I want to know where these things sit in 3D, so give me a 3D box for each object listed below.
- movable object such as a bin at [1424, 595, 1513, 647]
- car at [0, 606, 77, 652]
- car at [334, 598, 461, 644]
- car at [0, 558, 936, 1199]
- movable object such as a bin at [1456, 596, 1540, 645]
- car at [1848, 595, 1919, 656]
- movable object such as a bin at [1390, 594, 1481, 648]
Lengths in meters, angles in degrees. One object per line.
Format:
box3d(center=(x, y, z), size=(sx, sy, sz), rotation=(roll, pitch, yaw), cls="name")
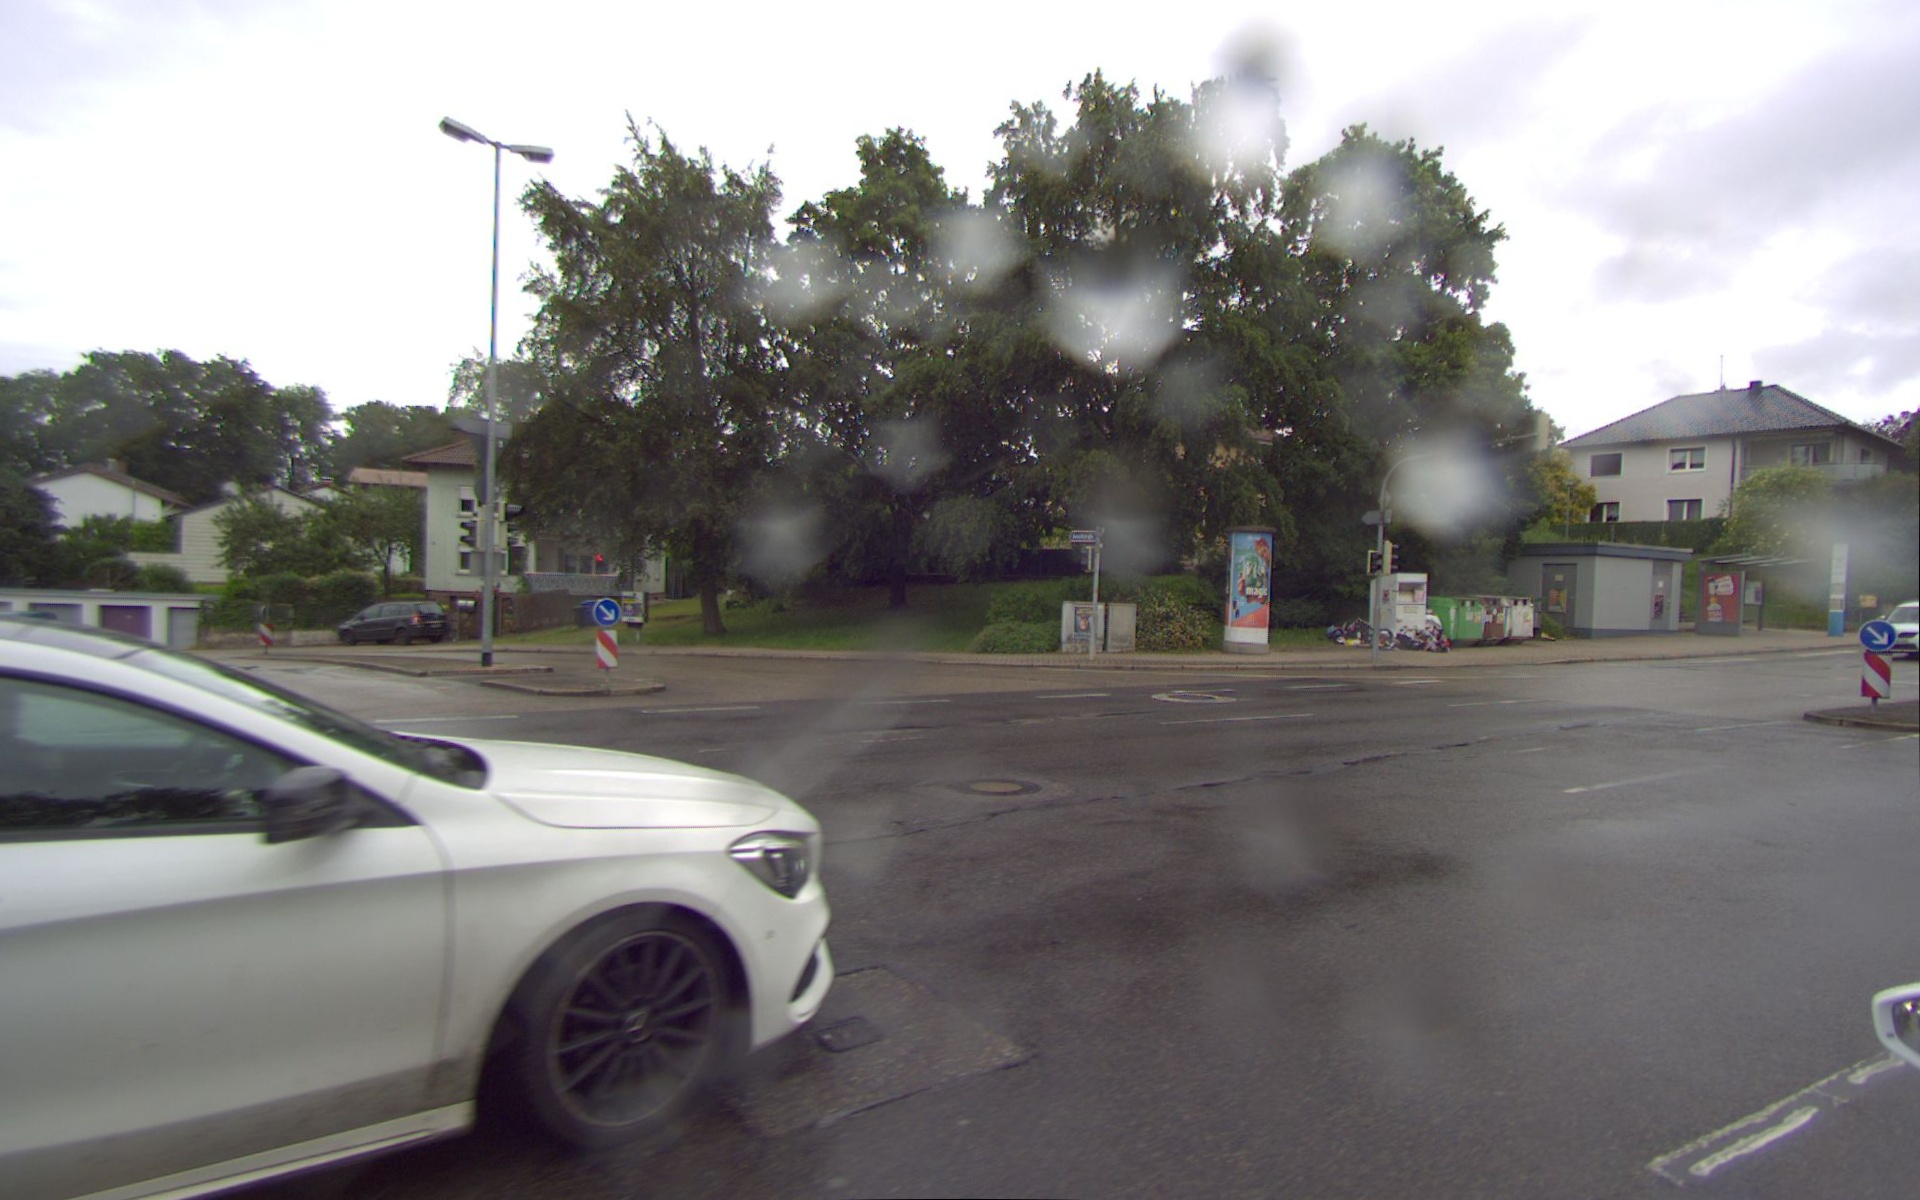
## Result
box3d(center=(16.252, 0.640, 32.159), size=(1.560, 1.590, 2.051), rotation=(-1, 1, -26), cls="movable object such as a bin")
box3d(center=(-40.402, 1.213, 42.806), size=(1.900, 1.873, 4.093), rotation=(0, -1, 0), cls="car")
box3d(center=(-21.820, 0.803, 39.002), size=(4.112, 1.726, 1.940), rotation=(0, -1, 16), cls="car")
box3d(center=(-2.468, 0.681, 2.571), size=(4.611, 1.549, 1.893), rotation=(2, 0, -39), cls="car")
box3d(center=(17.551, 0.645, 32.812), size=(1.326, 1.535, 2.051), rotation=(-1, 1, -26), cls="movable object such as a bin")
box3d(center=(27.980, 0.730, 29.150), size=(4.408, 1.679, 1.817), rotation=(1, 0, -27), cls="car")
box3d(center=(14.851, 0.632, 31.432), size=(1.560, 1.590, 2.051), rotation=(-1, 1, -26), cls="movable object such as a bin")
